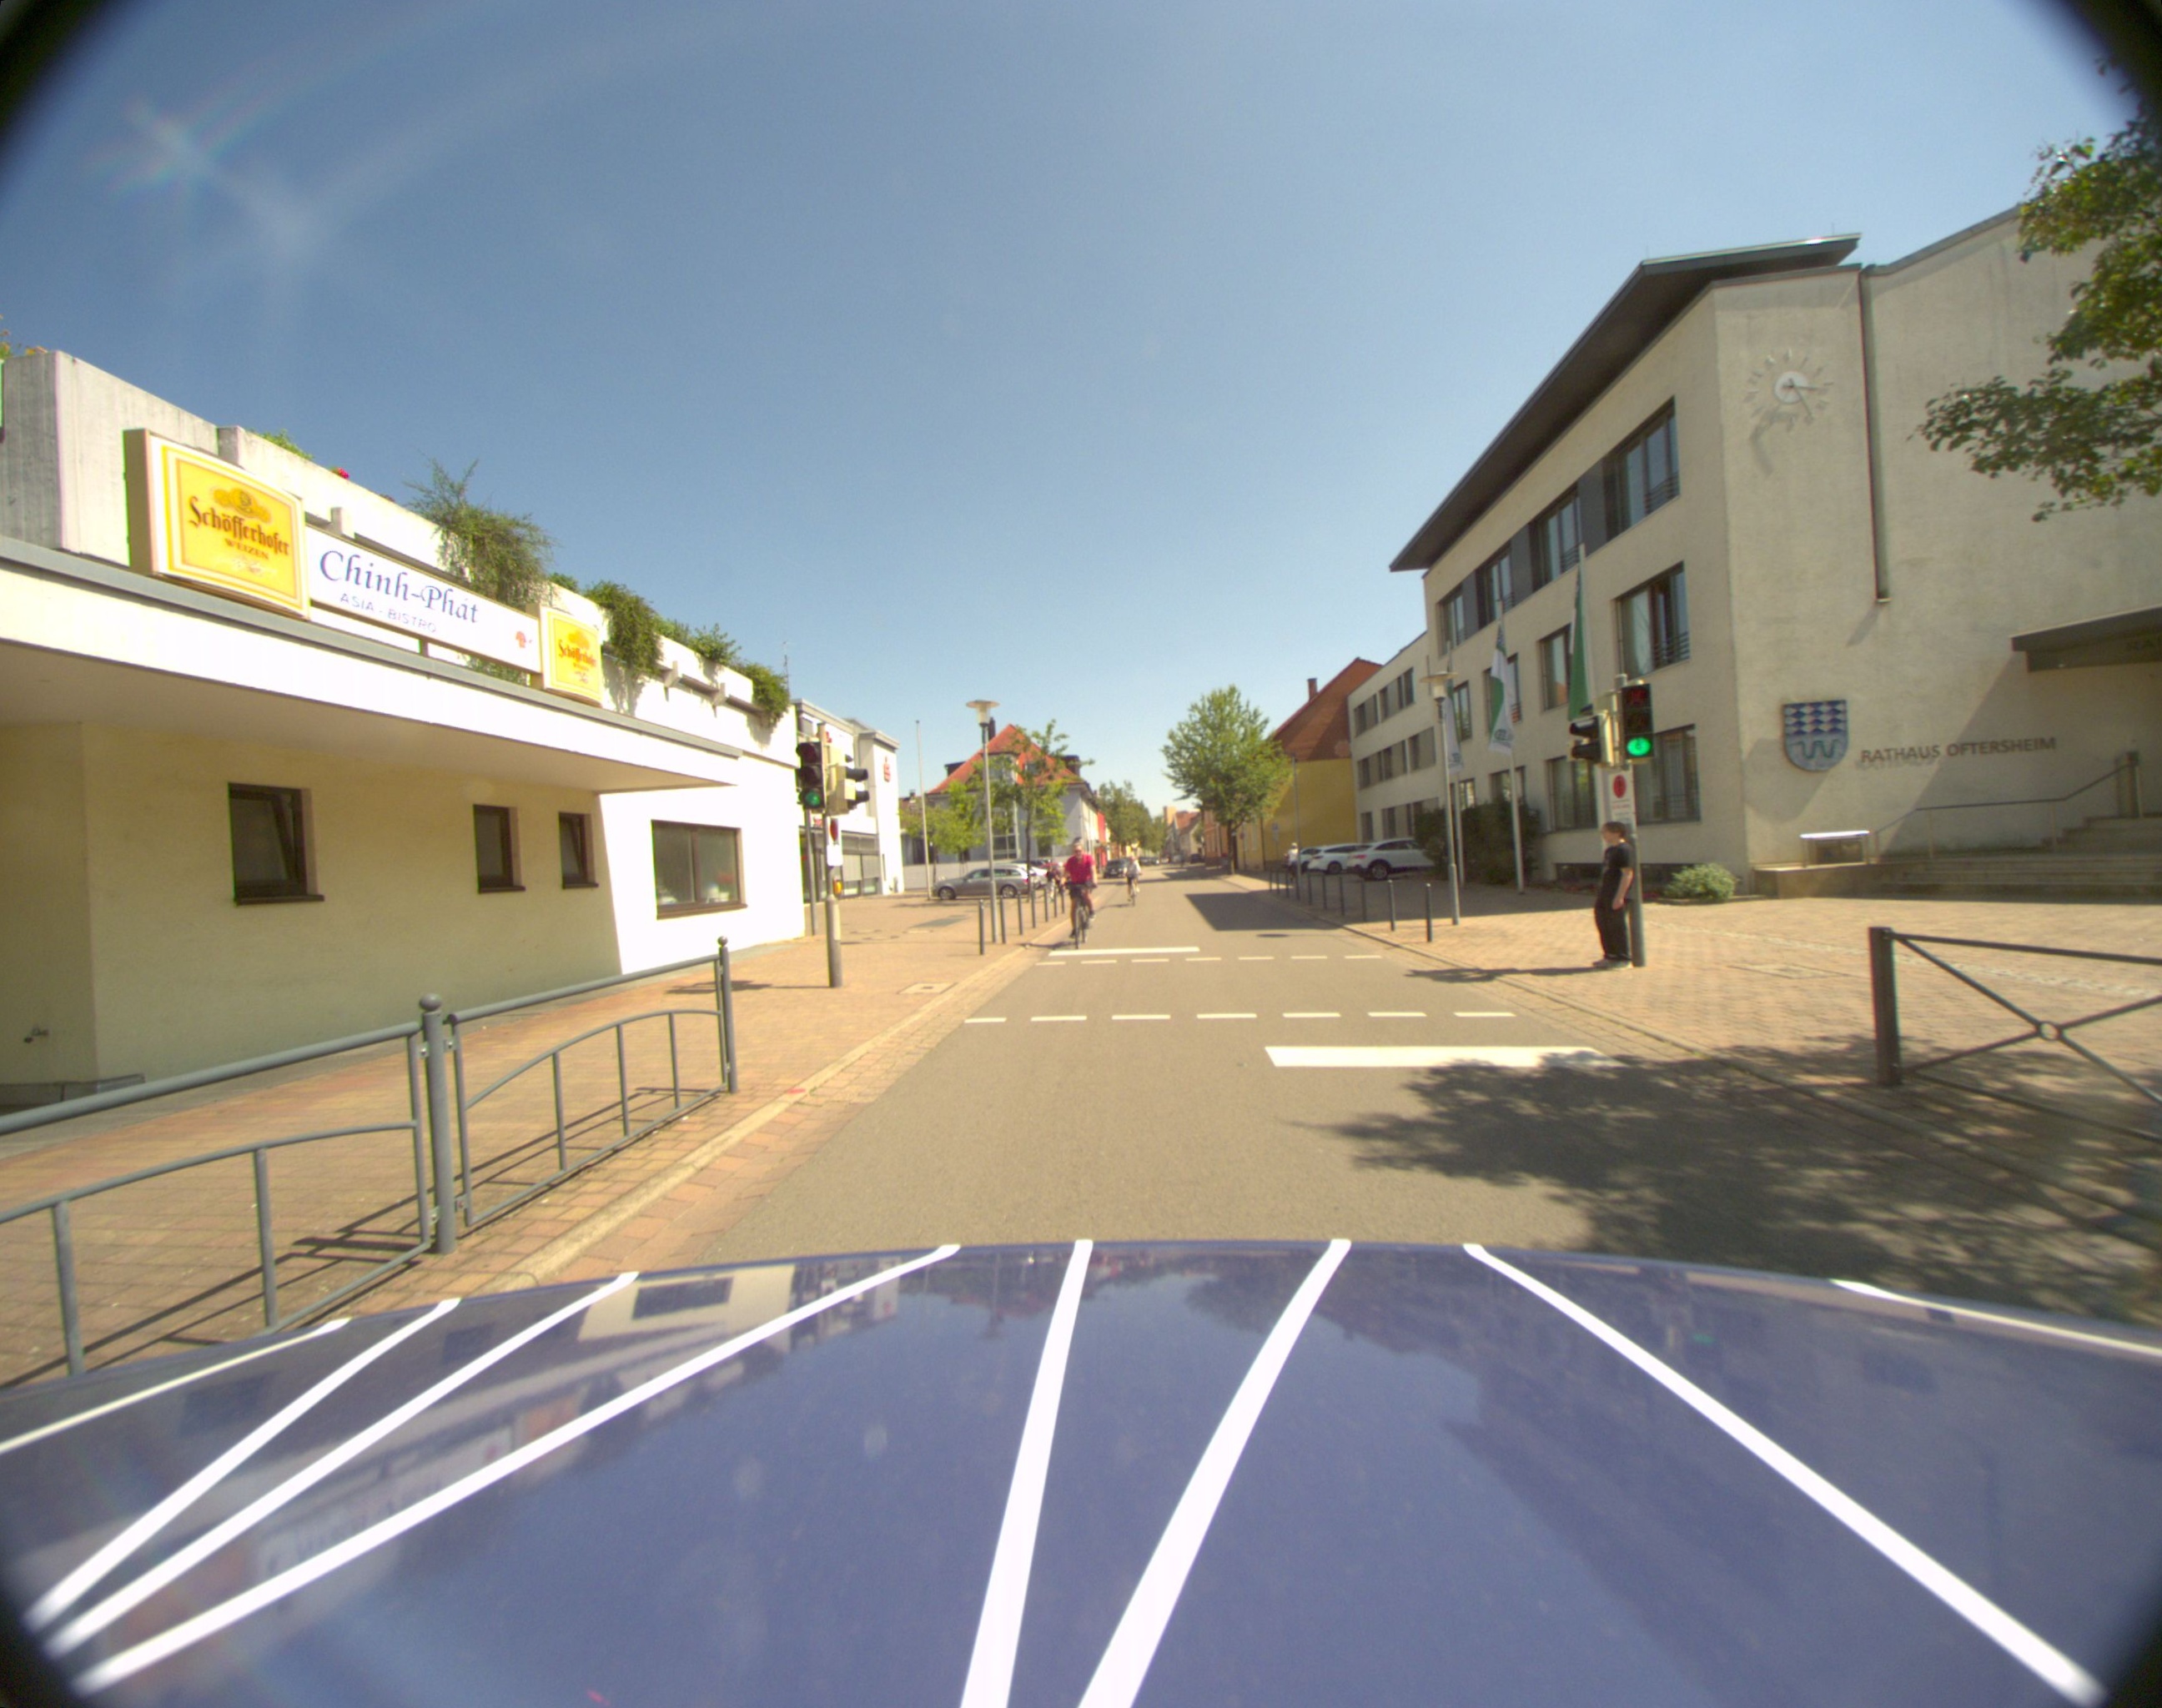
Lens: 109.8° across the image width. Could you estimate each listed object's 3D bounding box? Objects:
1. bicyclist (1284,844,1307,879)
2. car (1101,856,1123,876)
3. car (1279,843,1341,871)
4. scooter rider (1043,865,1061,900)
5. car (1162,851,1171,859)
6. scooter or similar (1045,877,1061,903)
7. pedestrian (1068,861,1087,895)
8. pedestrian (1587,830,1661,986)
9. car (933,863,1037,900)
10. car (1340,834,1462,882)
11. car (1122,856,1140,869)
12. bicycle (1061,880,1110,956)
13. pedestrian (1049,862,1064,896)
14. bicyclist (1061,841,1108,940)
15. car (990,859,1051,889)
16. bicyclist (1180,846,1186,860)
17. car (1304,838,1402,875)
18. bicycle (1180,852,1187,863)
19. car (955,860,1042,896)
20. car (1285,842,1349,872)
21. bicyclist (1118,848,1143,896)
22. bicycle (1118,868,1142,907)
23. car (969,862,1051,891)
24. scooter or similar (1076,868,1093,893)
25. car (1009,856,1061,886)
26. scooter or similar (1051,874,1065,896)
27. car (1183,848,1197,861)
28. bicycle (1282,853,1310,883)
[{"bbox_3d":[9.324,0.326,33.070,0.716,1.497,0.871,-3,0,3],"label":"bicyclist"},{"bbox_3d":[2.408,0.945,59.676,1.529,1.444,3.522,-3,0,1],"label":"car"},{"bbox_3d":[13.718,0.189,45.586,3.257,1.393,1.375,-5,0,4],"label":"car"},{"bbox_3d":[-1.126,1.106,29.678,0.462,1.317,1.133,-3,0,7],"label":"scooter rider"},{"bbox_3d":[19.984,0.197,177.568,1.998,1.696,4.001,-3,0,5],"label":"car"},{"bbox_3d":[-1.102,1.397,29.786,0.411,0.960,0.960,-3,1,8],"label":"scooter or similar"},{"bbox_3d":[-0.145,1.082,34.683,0.512,1.507,1.049,-2,0,17],"label":"pedestrian"},{"bbox_3d":[5.937,0.570,8.307,0.548,1.609,0.558,-3,2,40],"label":"pedestrian"},{"bbox_3d":[-4.307,1.245,34.605,4.443,1.457,1.690,-2,1,0],"label":"car"},{"bbox_3d":[12.537,0.156,29.948,3.996,1.538,1.749,-5,0,4],"label":"car"},{"bbox_3d":[5.187,0.892,79.090,1.529,1.298,3.250,-2,0,0],"label":"car"},{"bbox_3d":[0.117,1.135,14.074,0.738,1.182,1.971,-5,0,2],"label":"bicycle"},{"bbox_3d":[-1.096,1.136,34.234,0.531,1.492,0.724,-3,0,4],"label":"pedestrian"},{"bbox_3d":[0.079,0.645,13.898,0.702,1.707,0.760,-4,1,3],"label":"bicyclist"},{"bbox_3d":[-3.569,1.182,45.277,3.429,1.543,1.490,-3,0,1],"label":"car"},{"bbox_3d":[11.965,-0.164,89.159,0.538,1.630,0.551,-3,0,4],"label":"bicyclist"},{"bbox_3d":[13.588,0.116,38.154,4.322,1.470,1.514,-5,0,6],"label":"car"},{"bbox_3d":[11.982,0.405,88.998,0.594,1.182,1.725,-4,0,4],"label":"bicycle"},{"bbox_3d":[-4.021,1.162,37.460,4.045,1.550,1.713,-2,0,-1],"label":"car"},{"bbox_3d":[13.455,0.181,43.389,3.137,1.441,1.643,-5,0,6],"label":"car"},{"bbox_3d":[1.692,0.613,26.050,0.702,1.572,0.878,-4,1,3],"label":"bicyclist"},{"bbox_3d":[1.667,1.134,25.969,0.689,1.182,1.800,-5,0,2],"label":"bicycle"},{"bbox_3d":[-3.955,1.247,42.742,4.444,1.434,1.656,-2,0,-2],"label":"car"},{"bbox_3d":[0.155,1.233,35.619,0.505,1.112,0.910,-2,0,18],"label":"scooter or similar"},{"bbox_3d":[-2.840,1.058,47.357,3.039,1.727,1.345,-2,0,0],"label":"car"},{"bbox_3d":[-1.051,1.403,34.710,0.535,0.940,0.547,-3,0,4],"label":"scooter or similar"},{"bbox_3d":[16.640,0.112,115.975,1.825,1.805,4.001,-3,0,5],"label":"car"},{"bbox_3d":[9.332,0.594,33.079,0.710,1.245,1.972,-3,0,3],"label":"bicycle"}]
